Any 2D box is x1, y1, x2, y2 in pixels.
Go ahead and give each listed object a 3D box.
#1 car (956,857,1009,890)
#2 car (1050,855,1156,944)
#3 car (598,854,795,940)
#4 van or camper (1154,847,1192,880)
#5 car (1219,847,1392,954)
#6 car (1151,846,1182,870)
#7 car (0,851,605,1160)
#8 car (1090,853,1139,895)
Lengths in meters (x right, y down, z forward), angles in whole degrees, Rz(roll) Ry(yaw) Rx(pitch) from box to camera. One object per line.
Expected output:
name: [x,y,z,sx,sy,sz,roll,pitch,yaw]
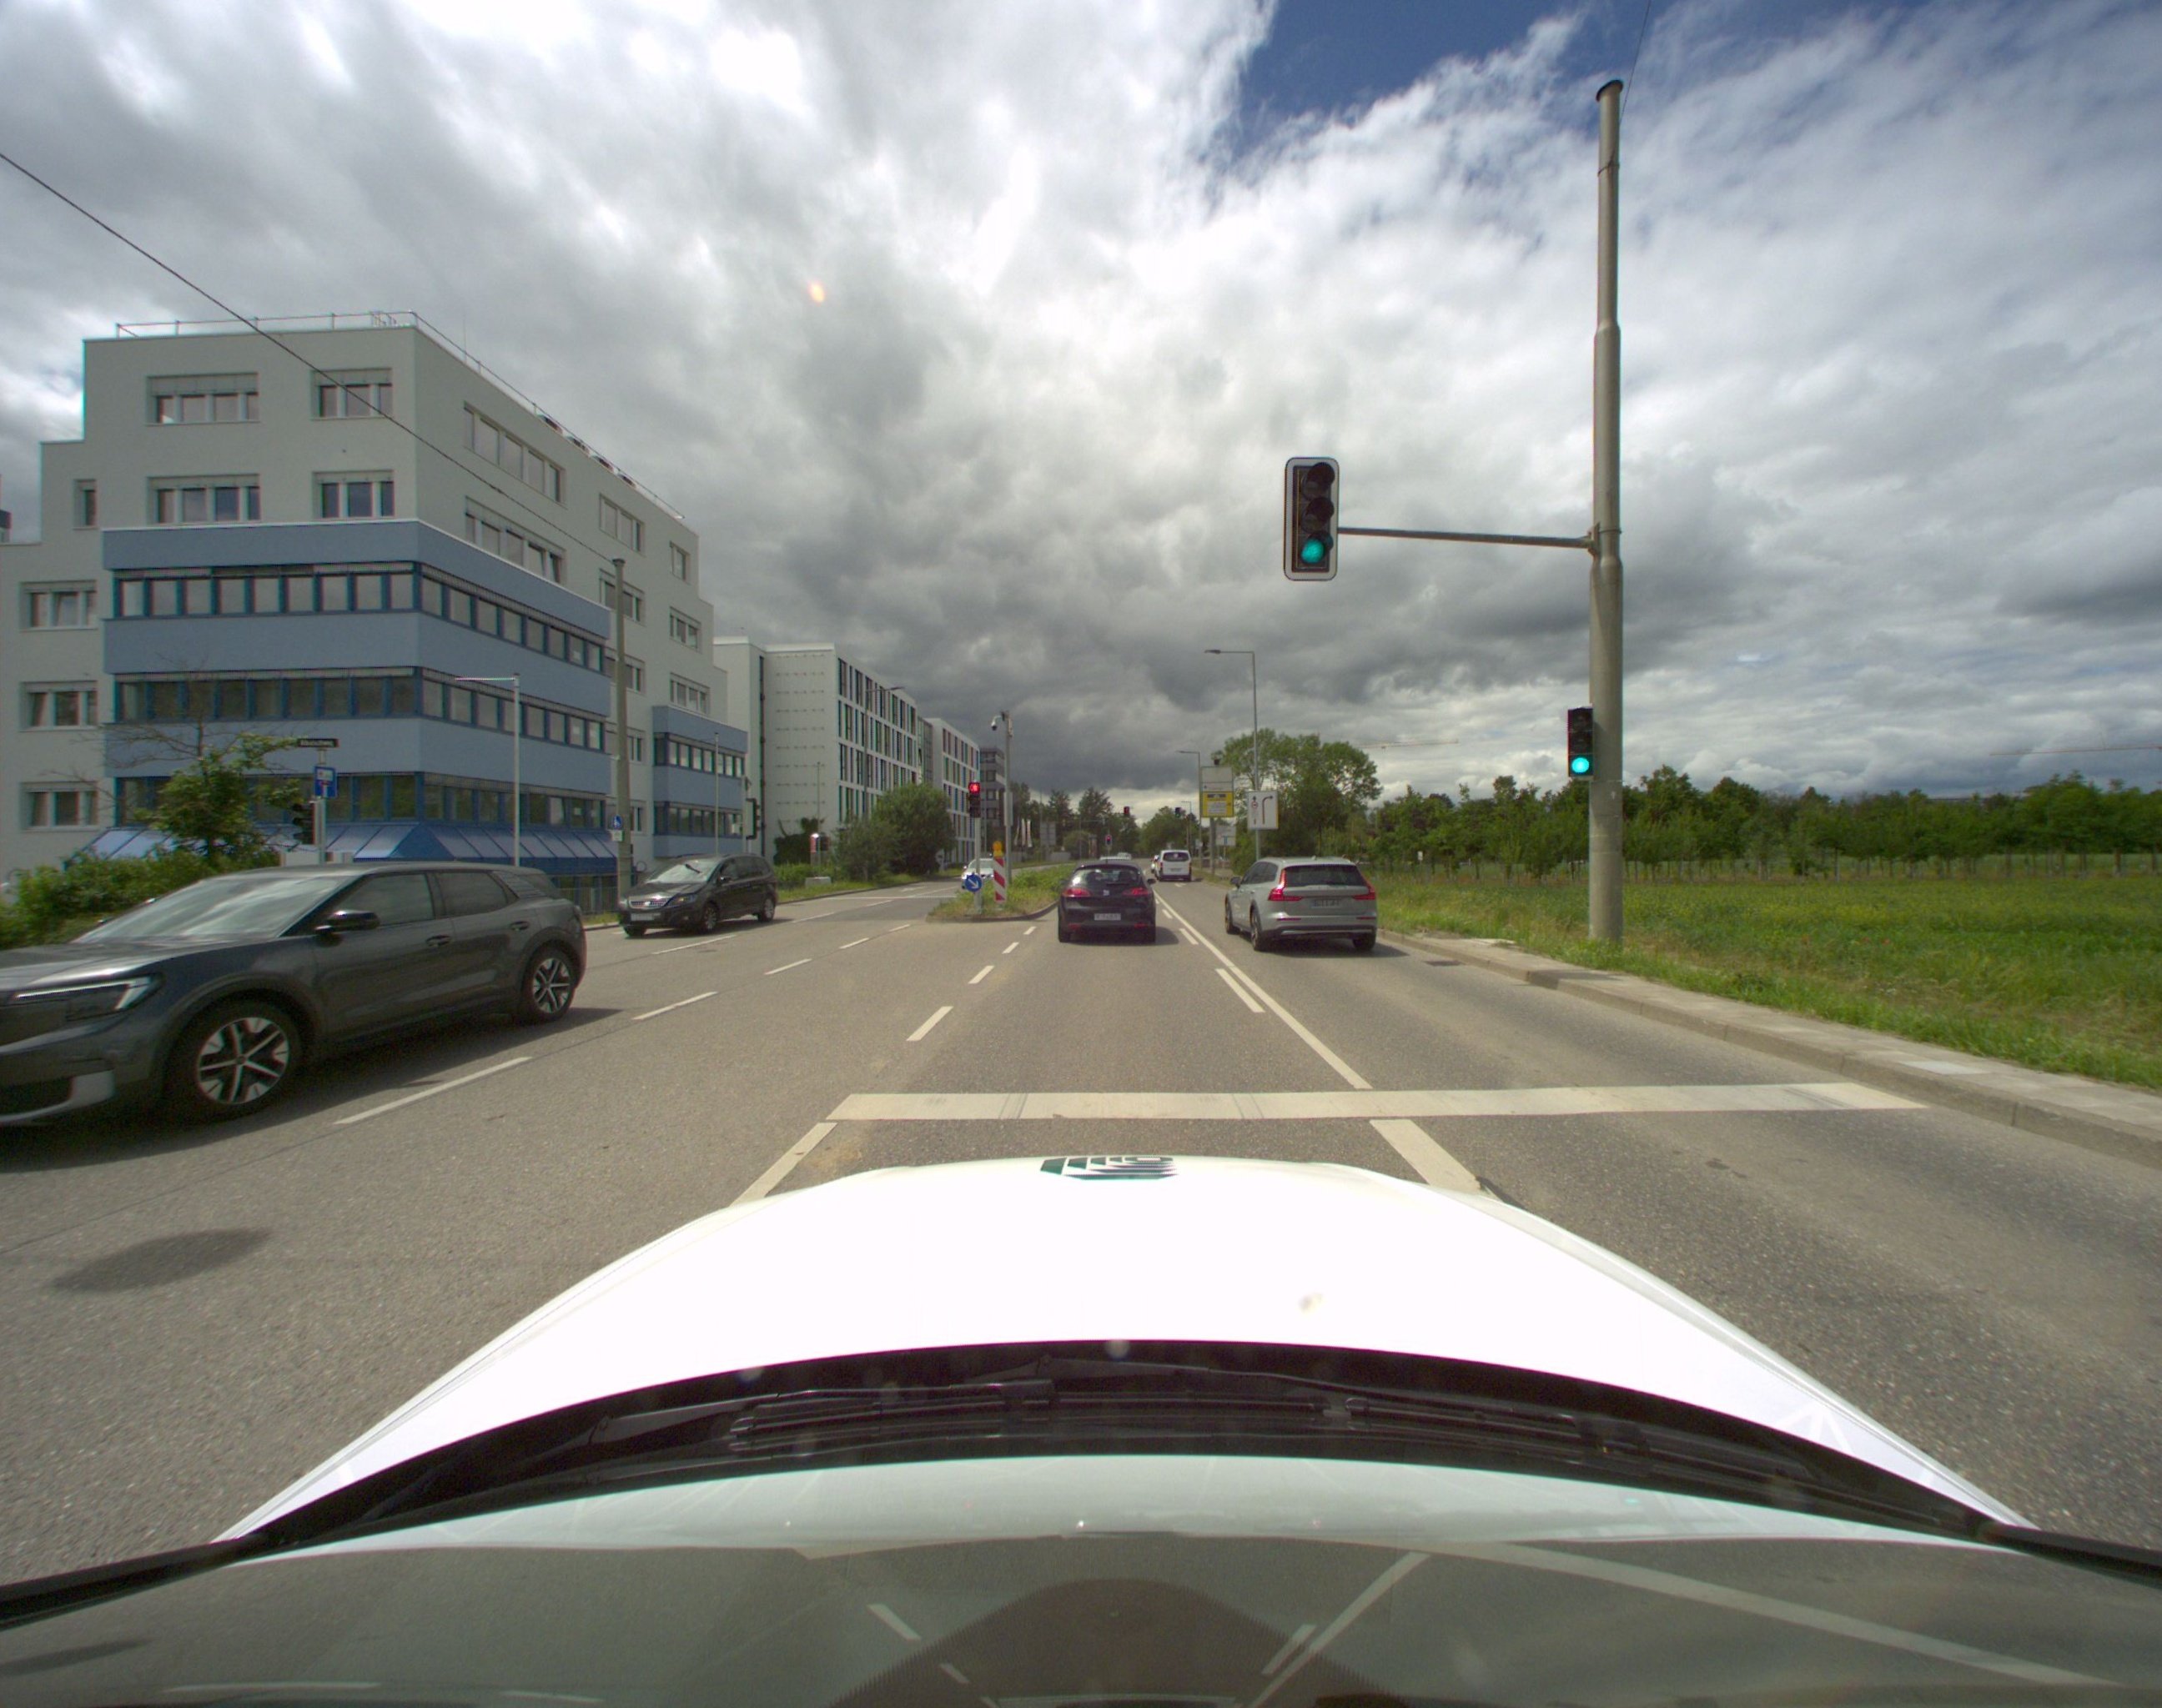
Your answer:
car: [-4.657,0.886,39.050,1.785,1.447,4.424,-1,0,2]
car: [0.512,0.762,15.401,1.765,1.451,3.587,1,0,5]
car: [-8.617,0.866,18.828,1.984,1.702,4.766,-1,0,4]
van or camper: [5.406,0.553,48.509,1.985,1.860,4.948,0,0,3]
car: [3.623,0.668,14.008,1.856,1.518,4.448,-1,0,2]
car: [6.010,0.297,57.635,1.986,1.632,4.002,0,0,2]
car: [-6.093,0.807,6.449,1.986,1.618,4.308,-1,0,2]
car: [1.317,0.717,31.462,1.766,1.491,3.584,-1,0,2]
